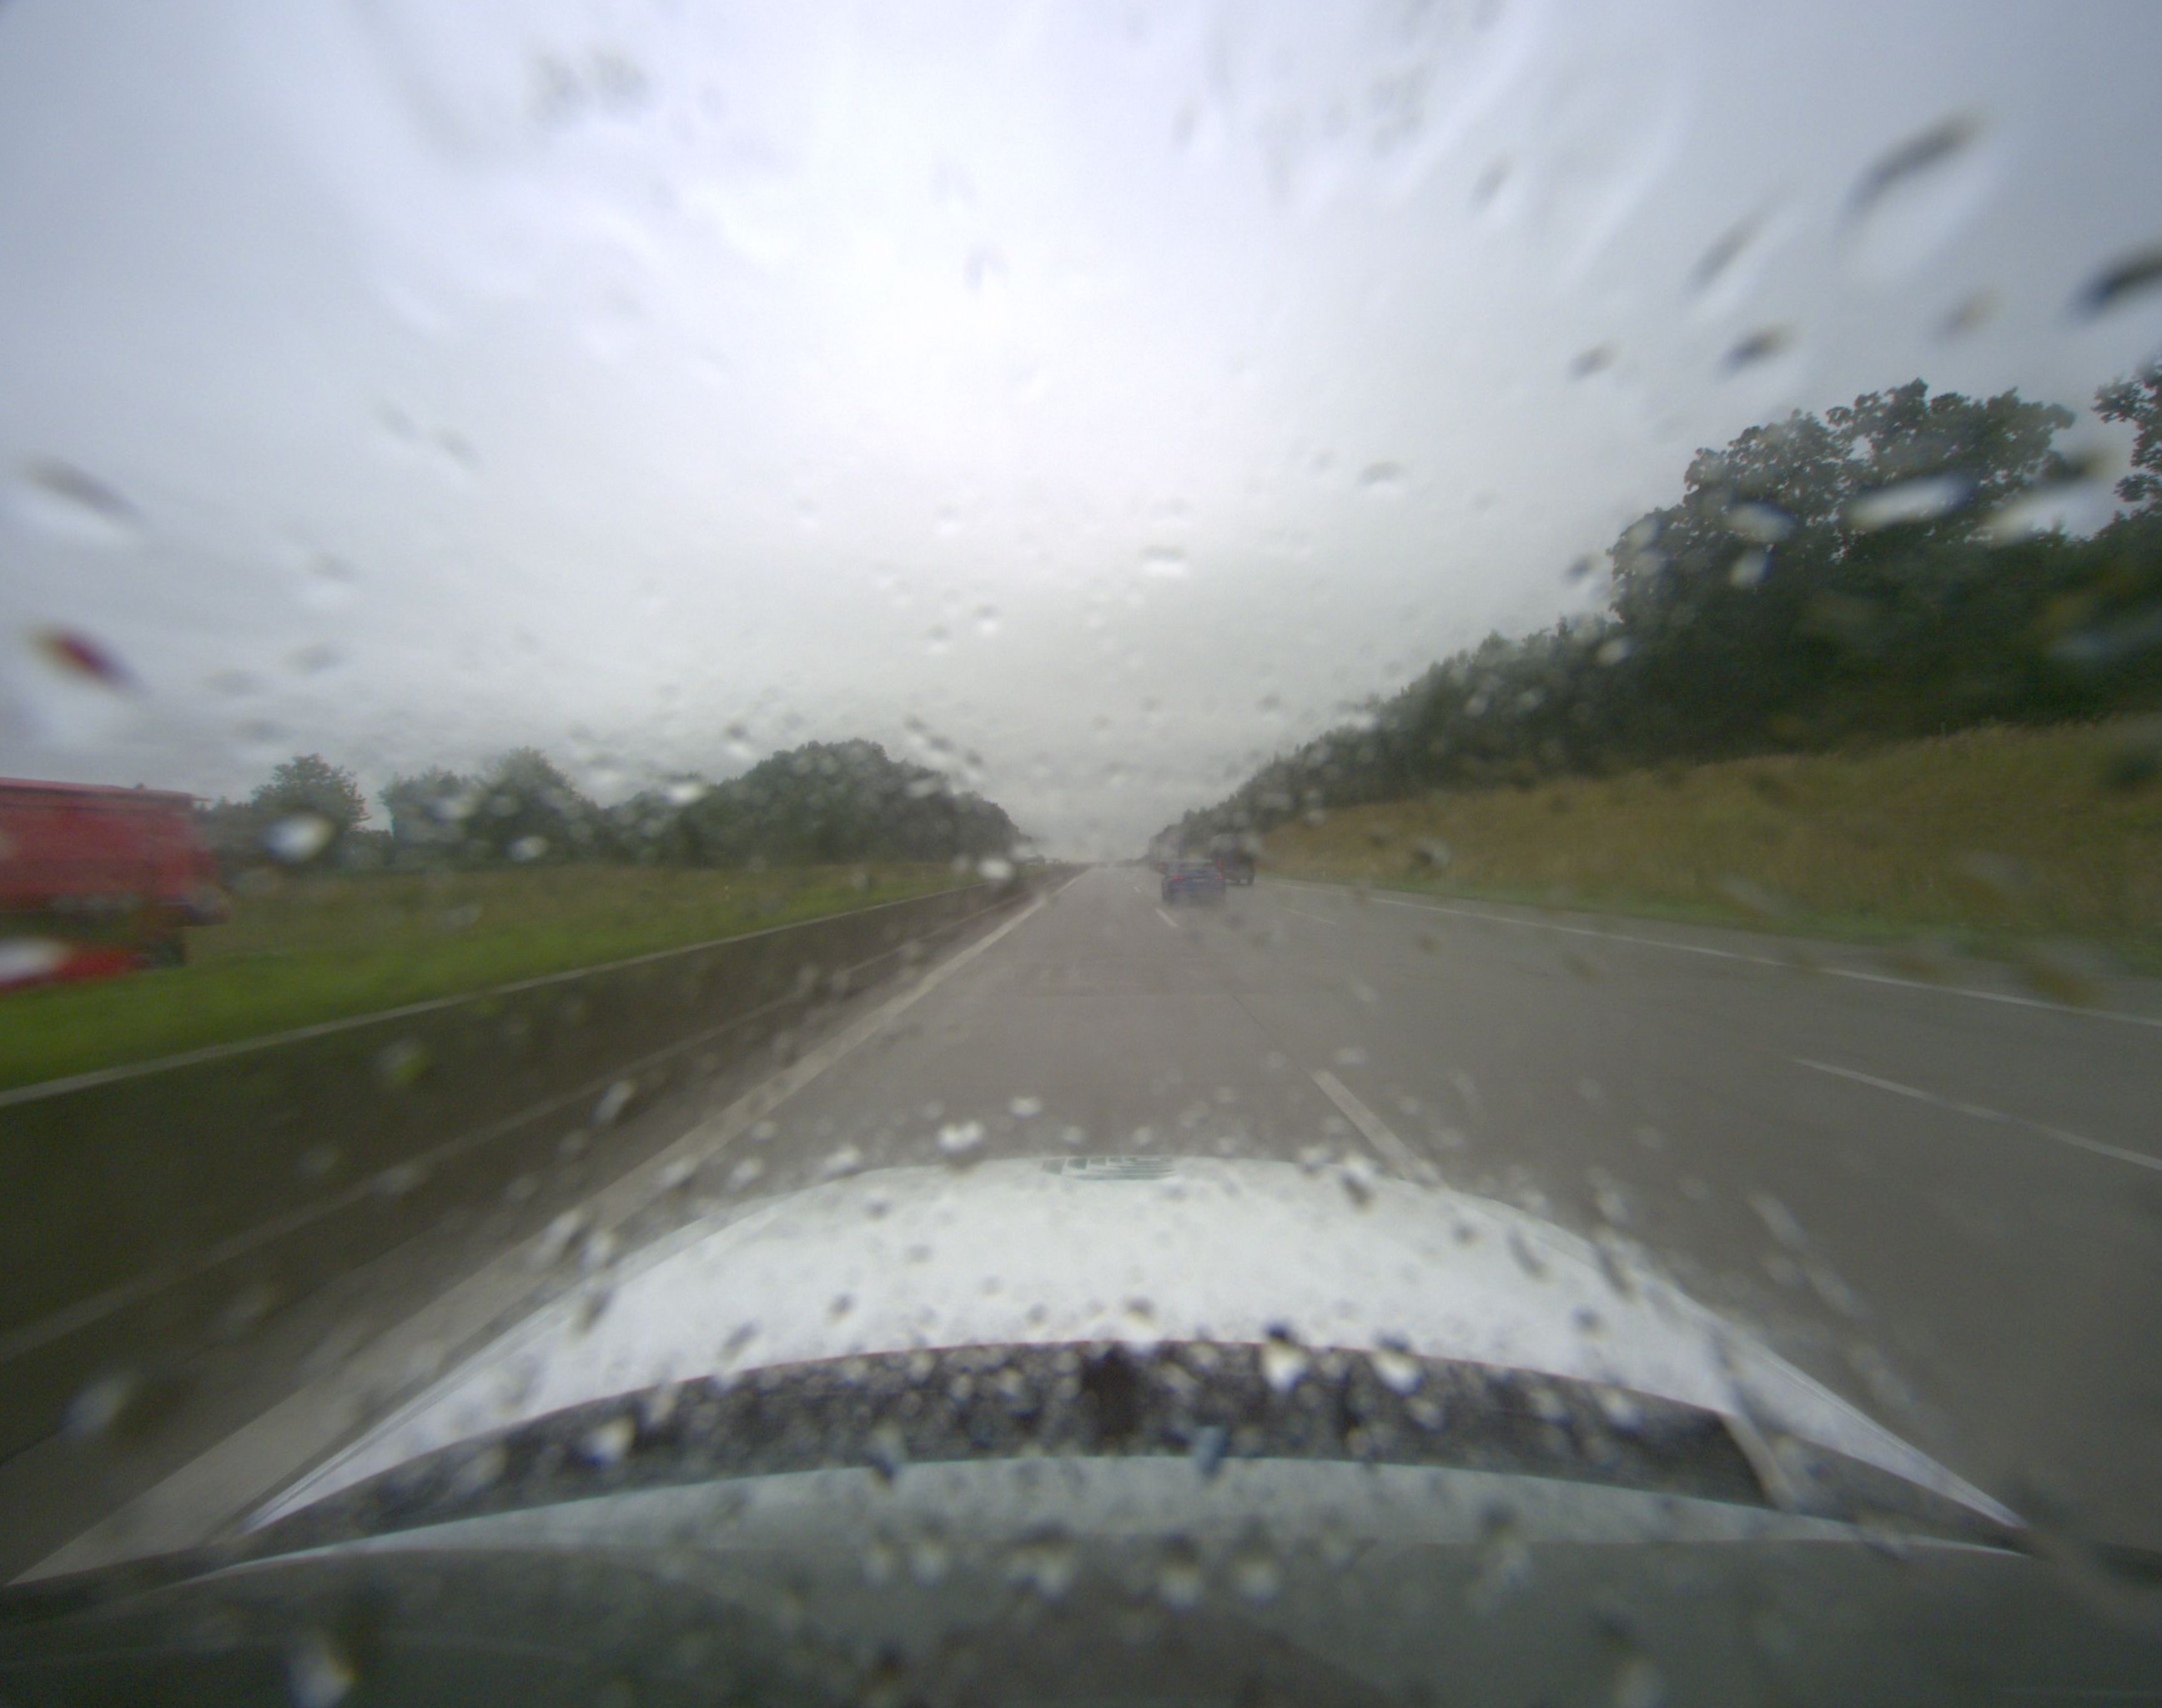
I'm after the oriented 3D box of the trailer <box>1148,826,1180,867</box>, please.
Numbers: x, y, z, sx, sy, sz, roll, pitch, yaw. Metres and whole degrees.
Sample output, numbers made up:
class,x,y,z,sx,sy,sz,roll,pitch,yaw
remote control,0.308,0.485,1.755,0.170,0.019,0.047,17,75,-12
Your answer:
class,x,y,z,sx,sy,sz,roll,pitch,yaw
trailer,9.556,-0.702,95.141,2.696,4.380,15.210,-1,-1,2

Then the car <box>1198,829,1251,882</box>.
class,x,y,z,sx,sy,sz,roll,pitch,yaw
car,7.768,0.104,44.700,1.933,2.659,6.589,0,0,2

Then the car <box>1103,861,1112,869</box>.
class,x,y,z,sx,sy,sz,roll,pitch,yaw
car,5.128,2.146,160.075,1.723,1.331,4.430,-2,-1,1

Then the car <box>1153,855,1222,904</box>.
class,x,y,z,sx,sy,sz,roll,pitch,yaw
car,3.483,0.856,27.373,1.723,1.459,4.672,-2,-2,1

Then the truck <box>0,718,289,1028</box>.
class,x,y,z,sx,sy,sz,roll,pitch,yaw
truck,-16.101,0.243,8.373,2.744,4.207,13.106,-3,-2,2
